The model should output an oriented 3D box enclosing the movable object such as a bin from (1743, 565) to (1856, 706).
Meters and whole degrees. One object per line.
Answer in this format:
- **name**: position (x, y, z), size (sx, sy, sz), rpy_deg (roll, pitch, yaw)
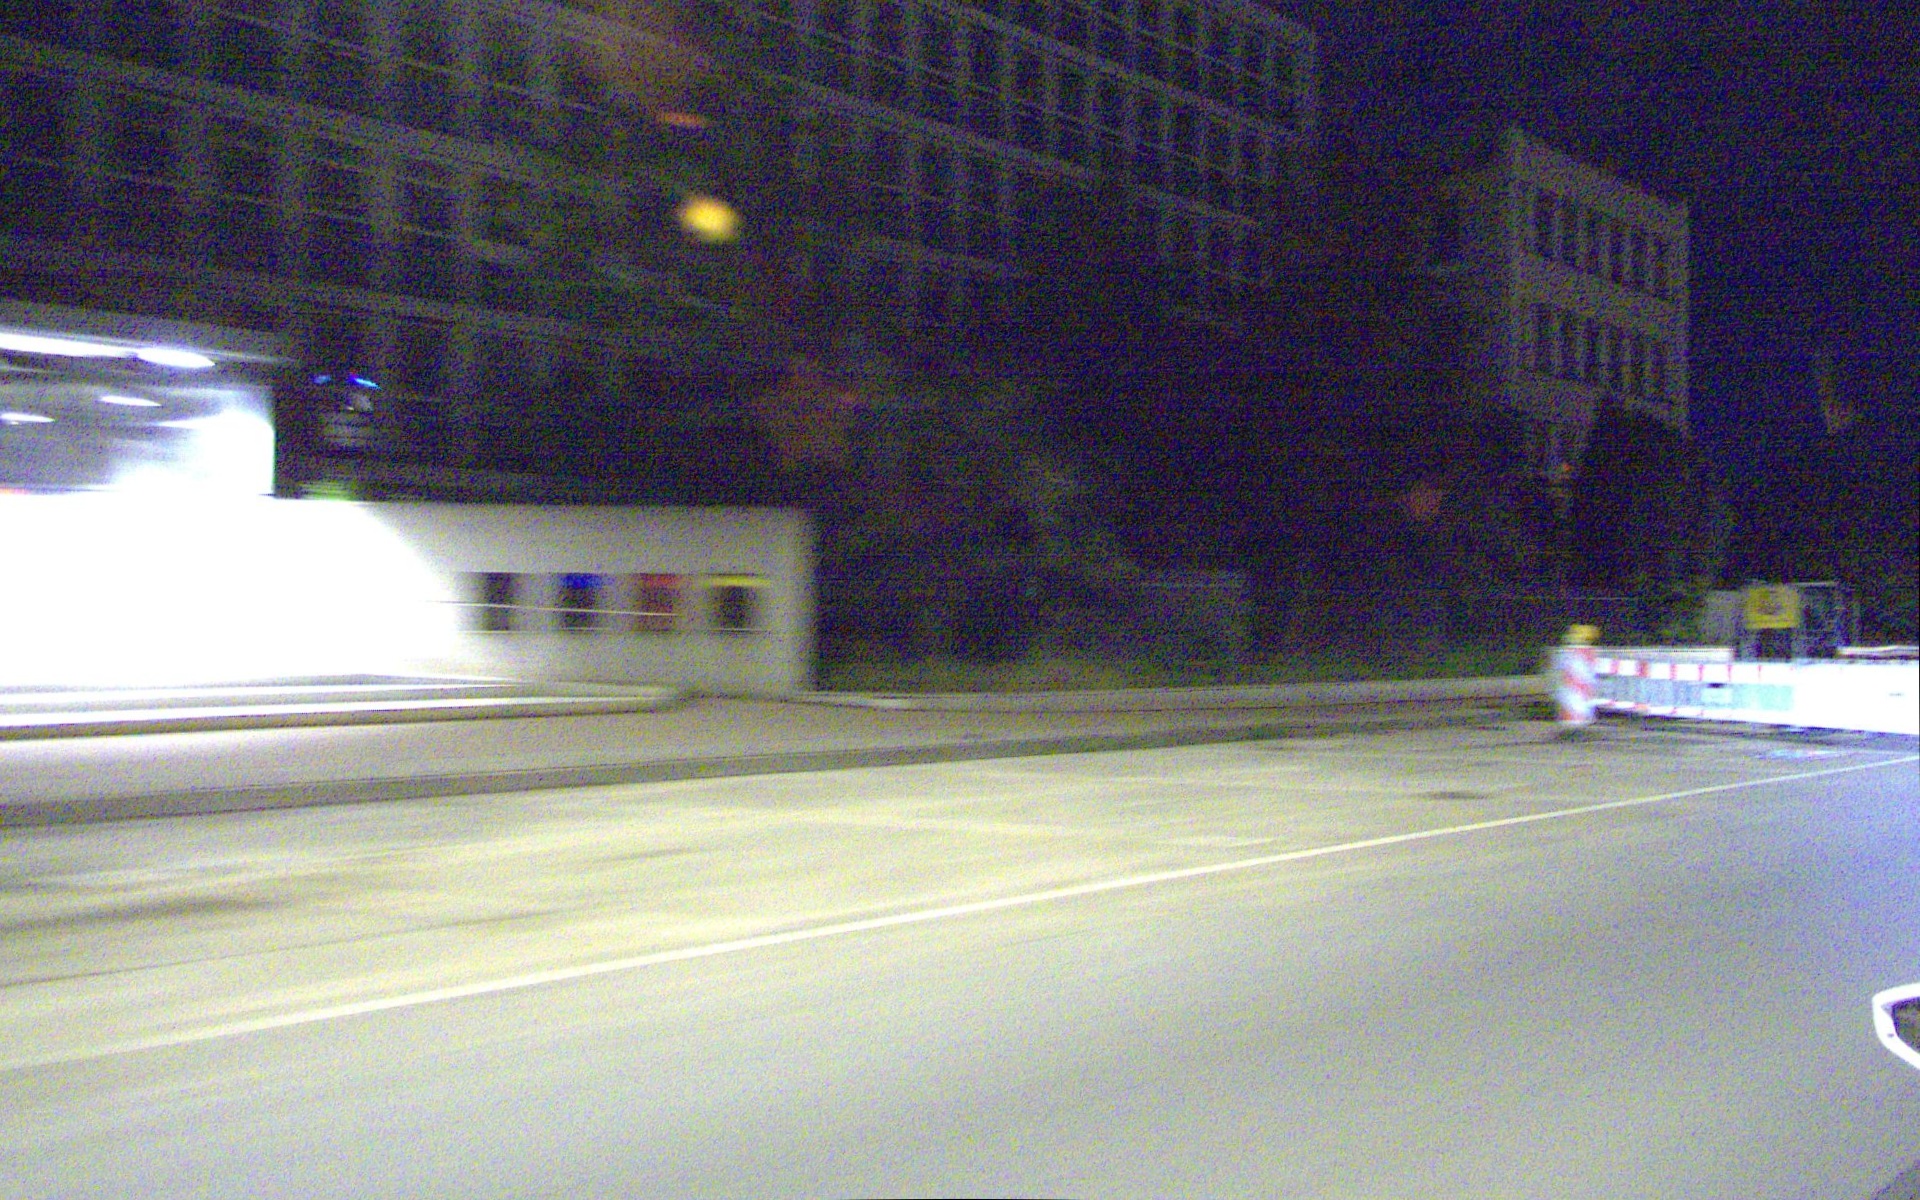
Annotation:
- **movable object such as a bin**: position (16.162, 0.697, 19.444), size (1.529, 2.499, 2.828), rpy_deg (-2, -3, 38)
